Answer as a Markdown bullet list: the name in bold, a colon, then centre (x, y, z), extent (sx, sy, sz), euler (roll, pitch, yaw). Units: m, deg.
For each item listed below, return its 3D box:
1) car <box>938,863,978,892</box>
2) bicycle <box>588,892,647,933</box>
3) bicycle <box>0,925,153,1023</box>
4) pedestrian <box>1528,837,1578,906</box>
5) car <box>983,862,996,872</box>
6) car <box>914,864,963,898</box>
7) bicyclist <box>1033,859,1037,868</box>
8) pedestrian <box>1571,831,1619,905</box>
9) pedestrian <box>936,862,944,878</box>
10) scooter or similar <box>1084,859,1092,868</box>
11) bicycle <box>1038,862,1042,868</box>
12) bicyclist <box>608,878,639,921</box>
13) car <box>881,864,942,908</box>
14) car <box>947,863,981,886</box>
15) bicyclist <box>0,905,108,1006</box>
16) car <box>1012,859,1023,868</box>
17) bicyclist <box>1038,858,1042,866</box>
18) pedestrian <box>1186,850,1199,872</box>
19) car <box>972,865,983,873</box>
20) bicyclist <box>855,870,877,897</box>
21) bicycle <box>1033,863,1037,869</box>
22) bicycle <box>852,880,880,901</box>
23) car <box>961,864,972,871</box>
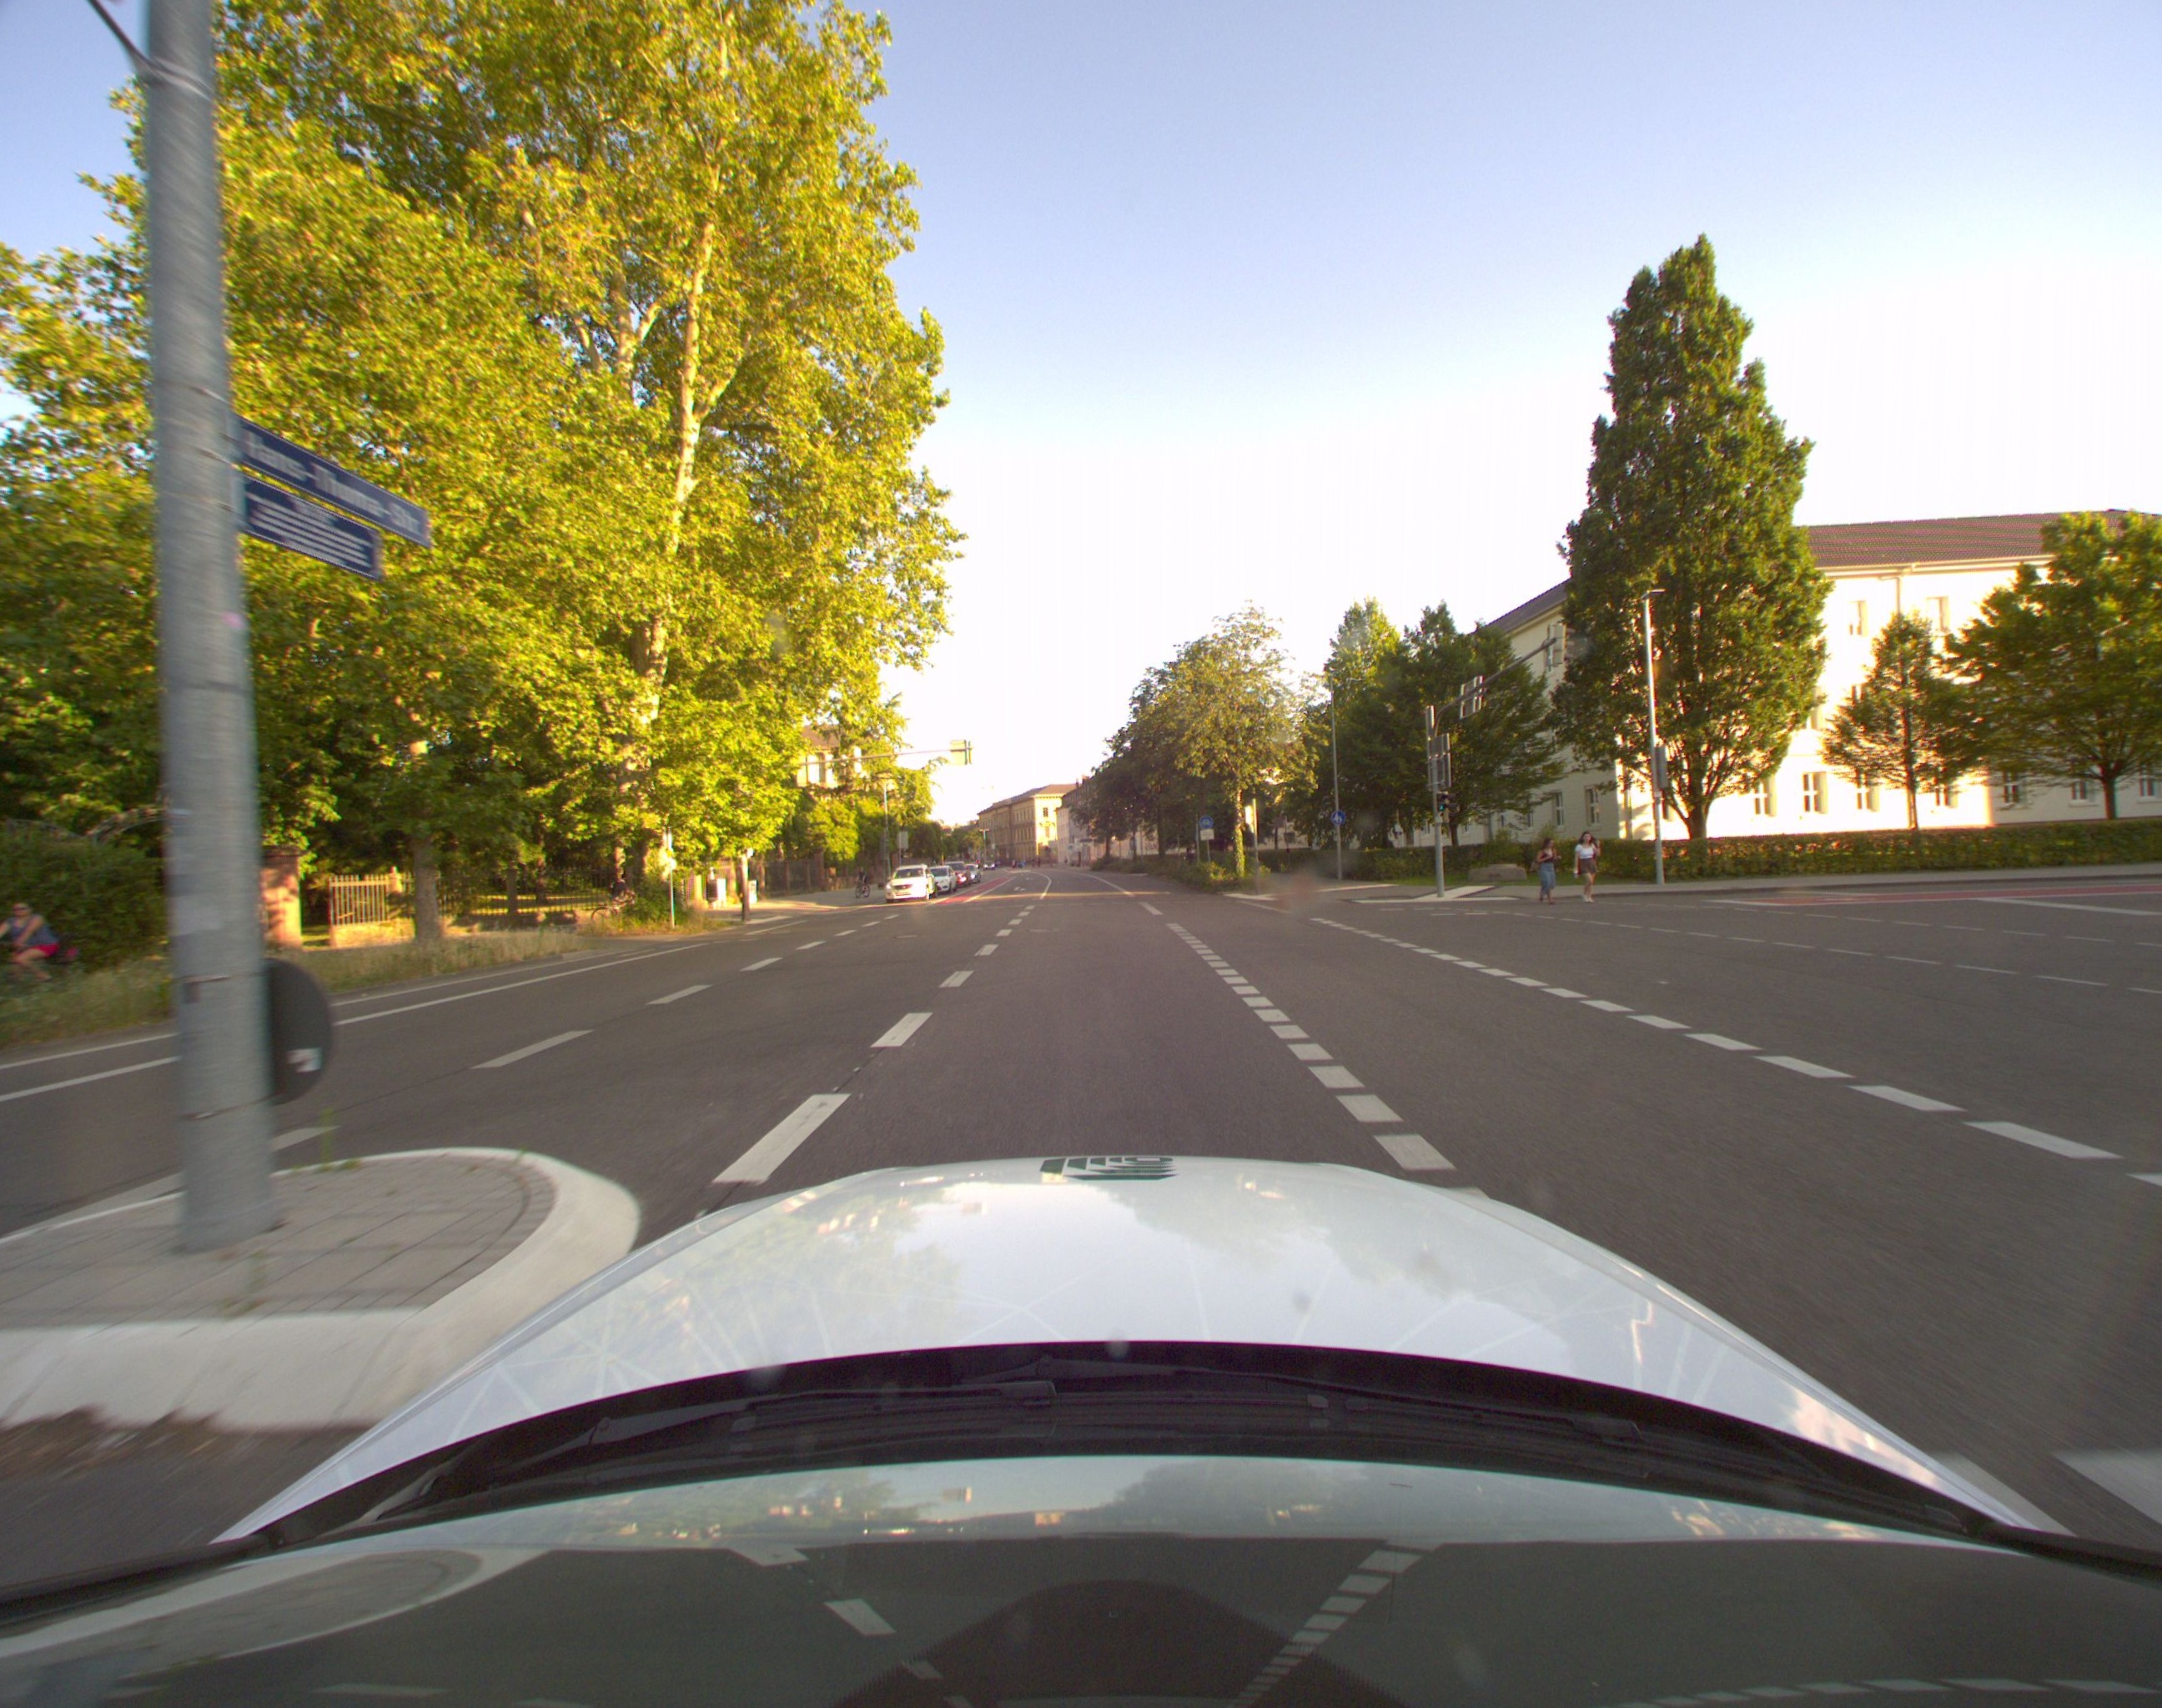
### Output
- **car**: centre (-7.884, 1.459, 52.574), extent (1.912, 1.624, 4.634), euler (-4, 0, -3)
- **bicycle**: centre (-15.518, 1.952, 27.327), extent (1.636, 1.229, 0.568), euler (-3, 0, -26)
- **bicycle**: centre (-15.990, 1.831, 12.660), extent (0.786, 1.256, 1.980), euler (-3, 0, 1)
- **pedestrian**: centre (11.616, 0.417, 20.061), extent (0.678, 1.622, 0.845), euler (-3, 0, 1)
- **car**: centre (-15.361, 2.201, 136.199), extent (1.849, 1.526, 3.985), euler (-4, 0, -11)
- **car**: centre (-7.630, 1.424, 44.072), extent (1.912, 1.583, 4.669), euler (-4, 0, -3)
- **bicyclist**: centre (-7.990, 1.672, 141.988), extent (0.651, 1.446, 0.877), euler (0, -1, -6)
- **pedestrian**: centre (12.505, 0.334, 19.827), extent (0.678, 1.754, 0.689), euler (-3, 0, 1)
- **pedestrian**: centre (-14.716, 1.658, 85.138), extent (0.678, 1.622, 0.688), euler (-3, 0, 0)
- **scooter or similar**: centre (1.130, 1.576, 132.457), extent (0.630, 1.337, 2.390), euler (-2, -1, -12)
- **bicycle**: centre (-7.157, 1.981, 141.644), extent (0.651, 1.015, 2.193), euler (0, -1, -6)
- **bicyclist**: centre (-15.405, 1.519, 27.424), extent (0.841, 1.361, 0.568), euler (-2, -1, -26)
- **car**: centre (-7.703, 1.409, 37.418), extent (1.912, 1.695, 4.422), euler (-4, 0, -3)
- **car**: centre (-8.437, 1.472, 59.106), extent (1.912, 1.417, 4.765), euler (-5, 0, -3)
- **bicyclist**: centre (-16.003, 1.544, 12.595), extent (0.786, 1.427, 0.892), euler (-3, -1, 1)
- **car**: centre (-11.072, 1.683, 141.271), extent (1.865, 1.510, 3.992), euler (-2, -1, -5)
- **bicyclist**: centre (-7.160, 1.354, 141.656), extent (0.651, 1.475, 0.939), euler (0, -1, -6)
- **pedestrian**: centre (8.852, 0.538, 64.511), extent (0.769, 1.739, 0.805), euler (-3, 0, -8)
- **car**: centre (-20.486, 3.046, 161.000), extent (1.837, 1.439, 3.983), euler (-4, 0, -12)
- **bicyclist**: centre (-11.826, 1.598, 44.767), extent (0.852, 1.431, 0.944), euler (-3, 0, 1)
- **bicycle**: centre (-7.995, 2.077, 142.071), extent (0.651, 1.015, 2.193), euler (0, -1, -6)
- **bicycle**: centre (-11.793, 1.995, 44.723), extent (0.852, 1.015, 2.199), euler (-3, 0, 2)
- **car**: centre (-27.952, 3.386, 198.291), extent (2.000, 1.585, 3.974), euler (-2, -1, -19)
